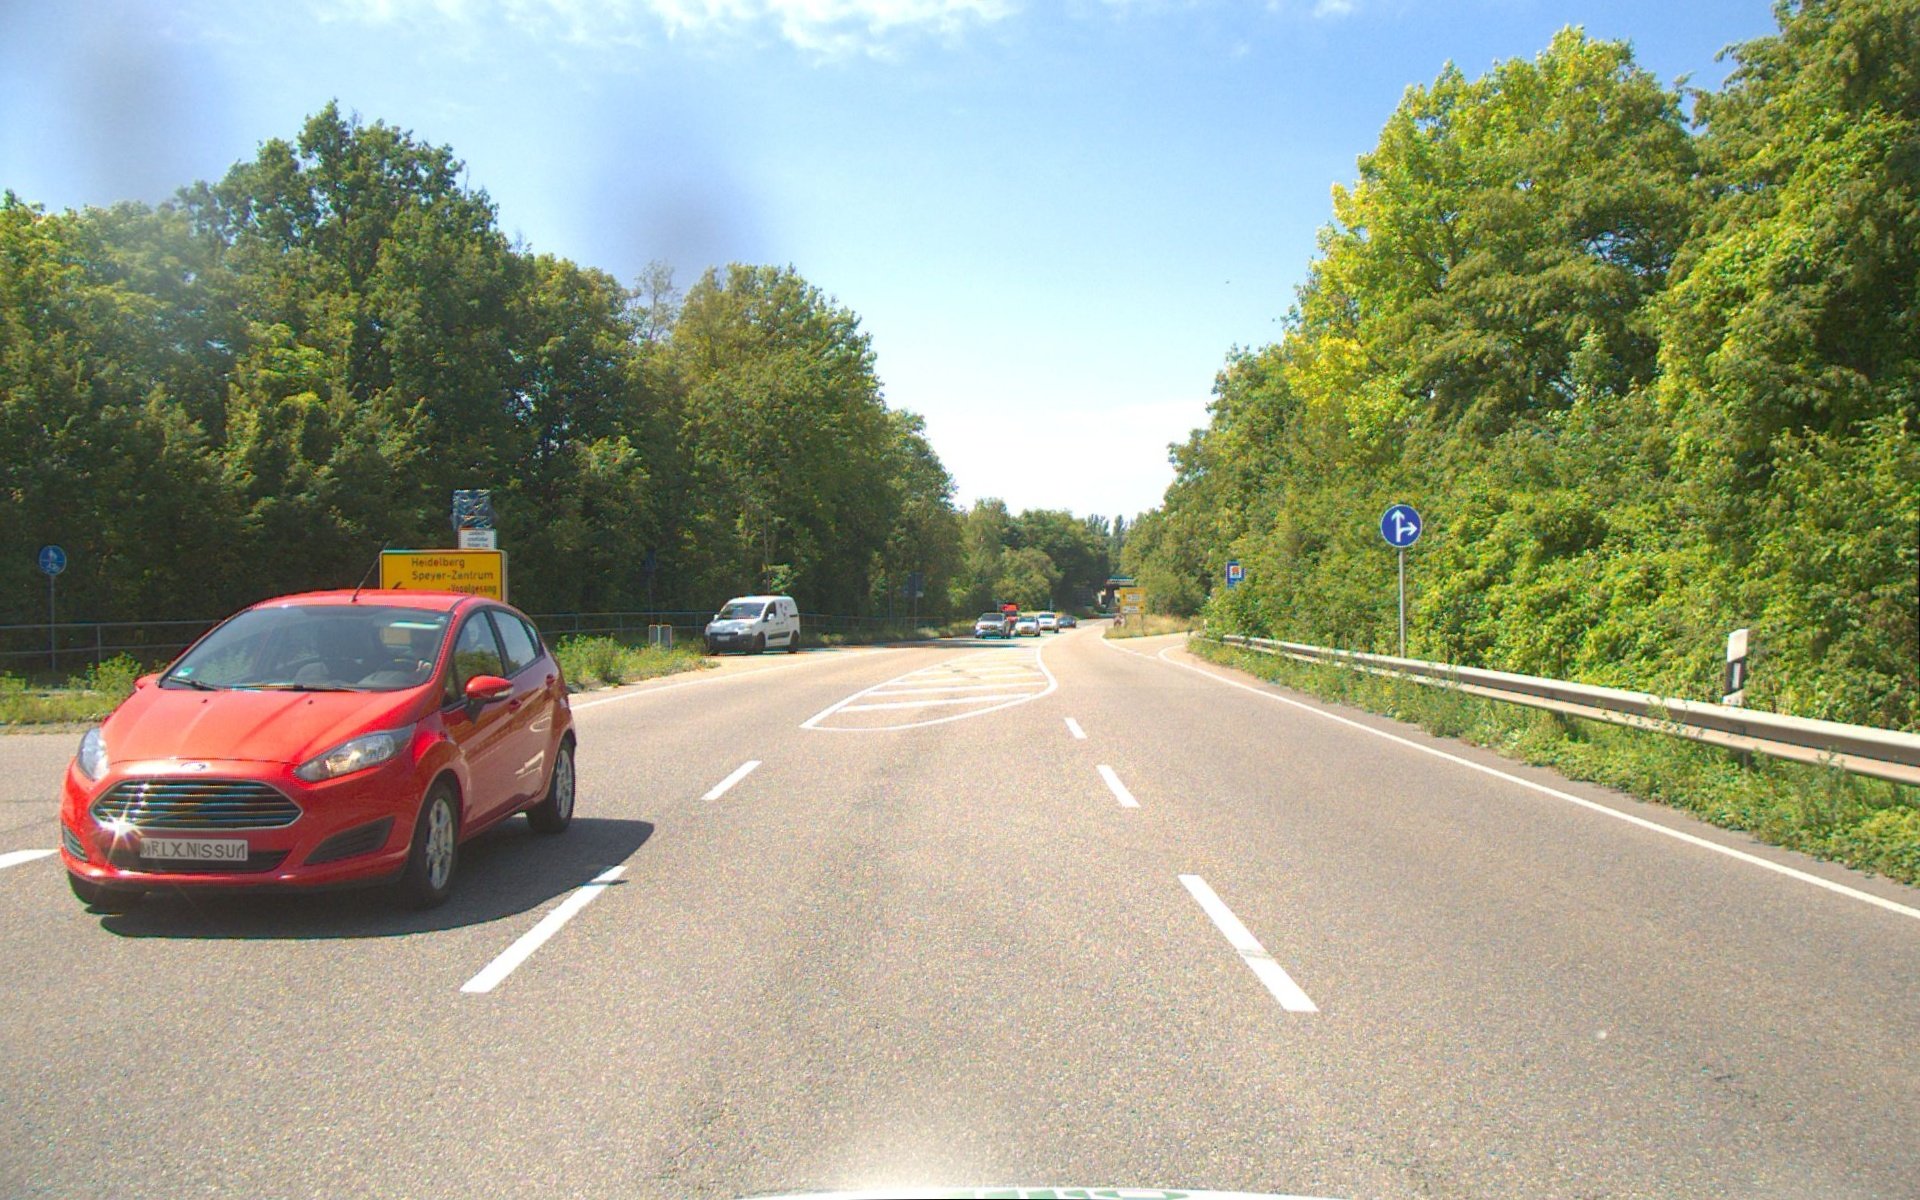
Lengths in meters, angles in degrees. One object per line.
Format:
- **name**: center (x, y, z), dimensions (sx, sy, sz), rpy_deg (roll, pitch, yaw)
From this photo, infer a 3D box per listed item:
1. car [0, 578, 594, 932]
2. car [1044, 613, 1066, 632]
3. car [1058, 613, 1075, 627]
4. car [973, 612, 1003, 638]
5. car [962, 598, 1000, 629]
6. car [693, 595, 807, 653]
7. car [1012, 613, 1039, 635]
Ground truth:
- **car**: center (-3.244, 0.659, 8.855), dimensions (1.773, 1.483, 3.757), rpy_deg (0, 0, -1)
- **car**: center (8.169, 1.912, 142.216), dimensions (1.683, 1.555, 3.712), rpy_deg (0, 0, 6)
- **car**: center (11.555, 2.169, 179.668), dimensions (1.683, 1.535, 3.712), rpy_deg (0, 0, 6)
- **car**: center (1.794, 1.561, 105.170), dimensions (1.642, 1.554, 4.002), rpy_deg (0, 0, 5)
- **car**: center (2.213, 1.427, 177.604), dimensions (1.971, 3.282, 4.763), rpy_deg (0, 0, -29)
- **car**: center (-6.565, 0.727, 52.144), dimensions (1.952, 1.760, 4.276), rpy_deg (0, 0, 18)
- **car**: center (4.826, 1.766, 121.123), dimensions (1.641, 1.554, 4.003), rpy_deg (0, 0, 7)
